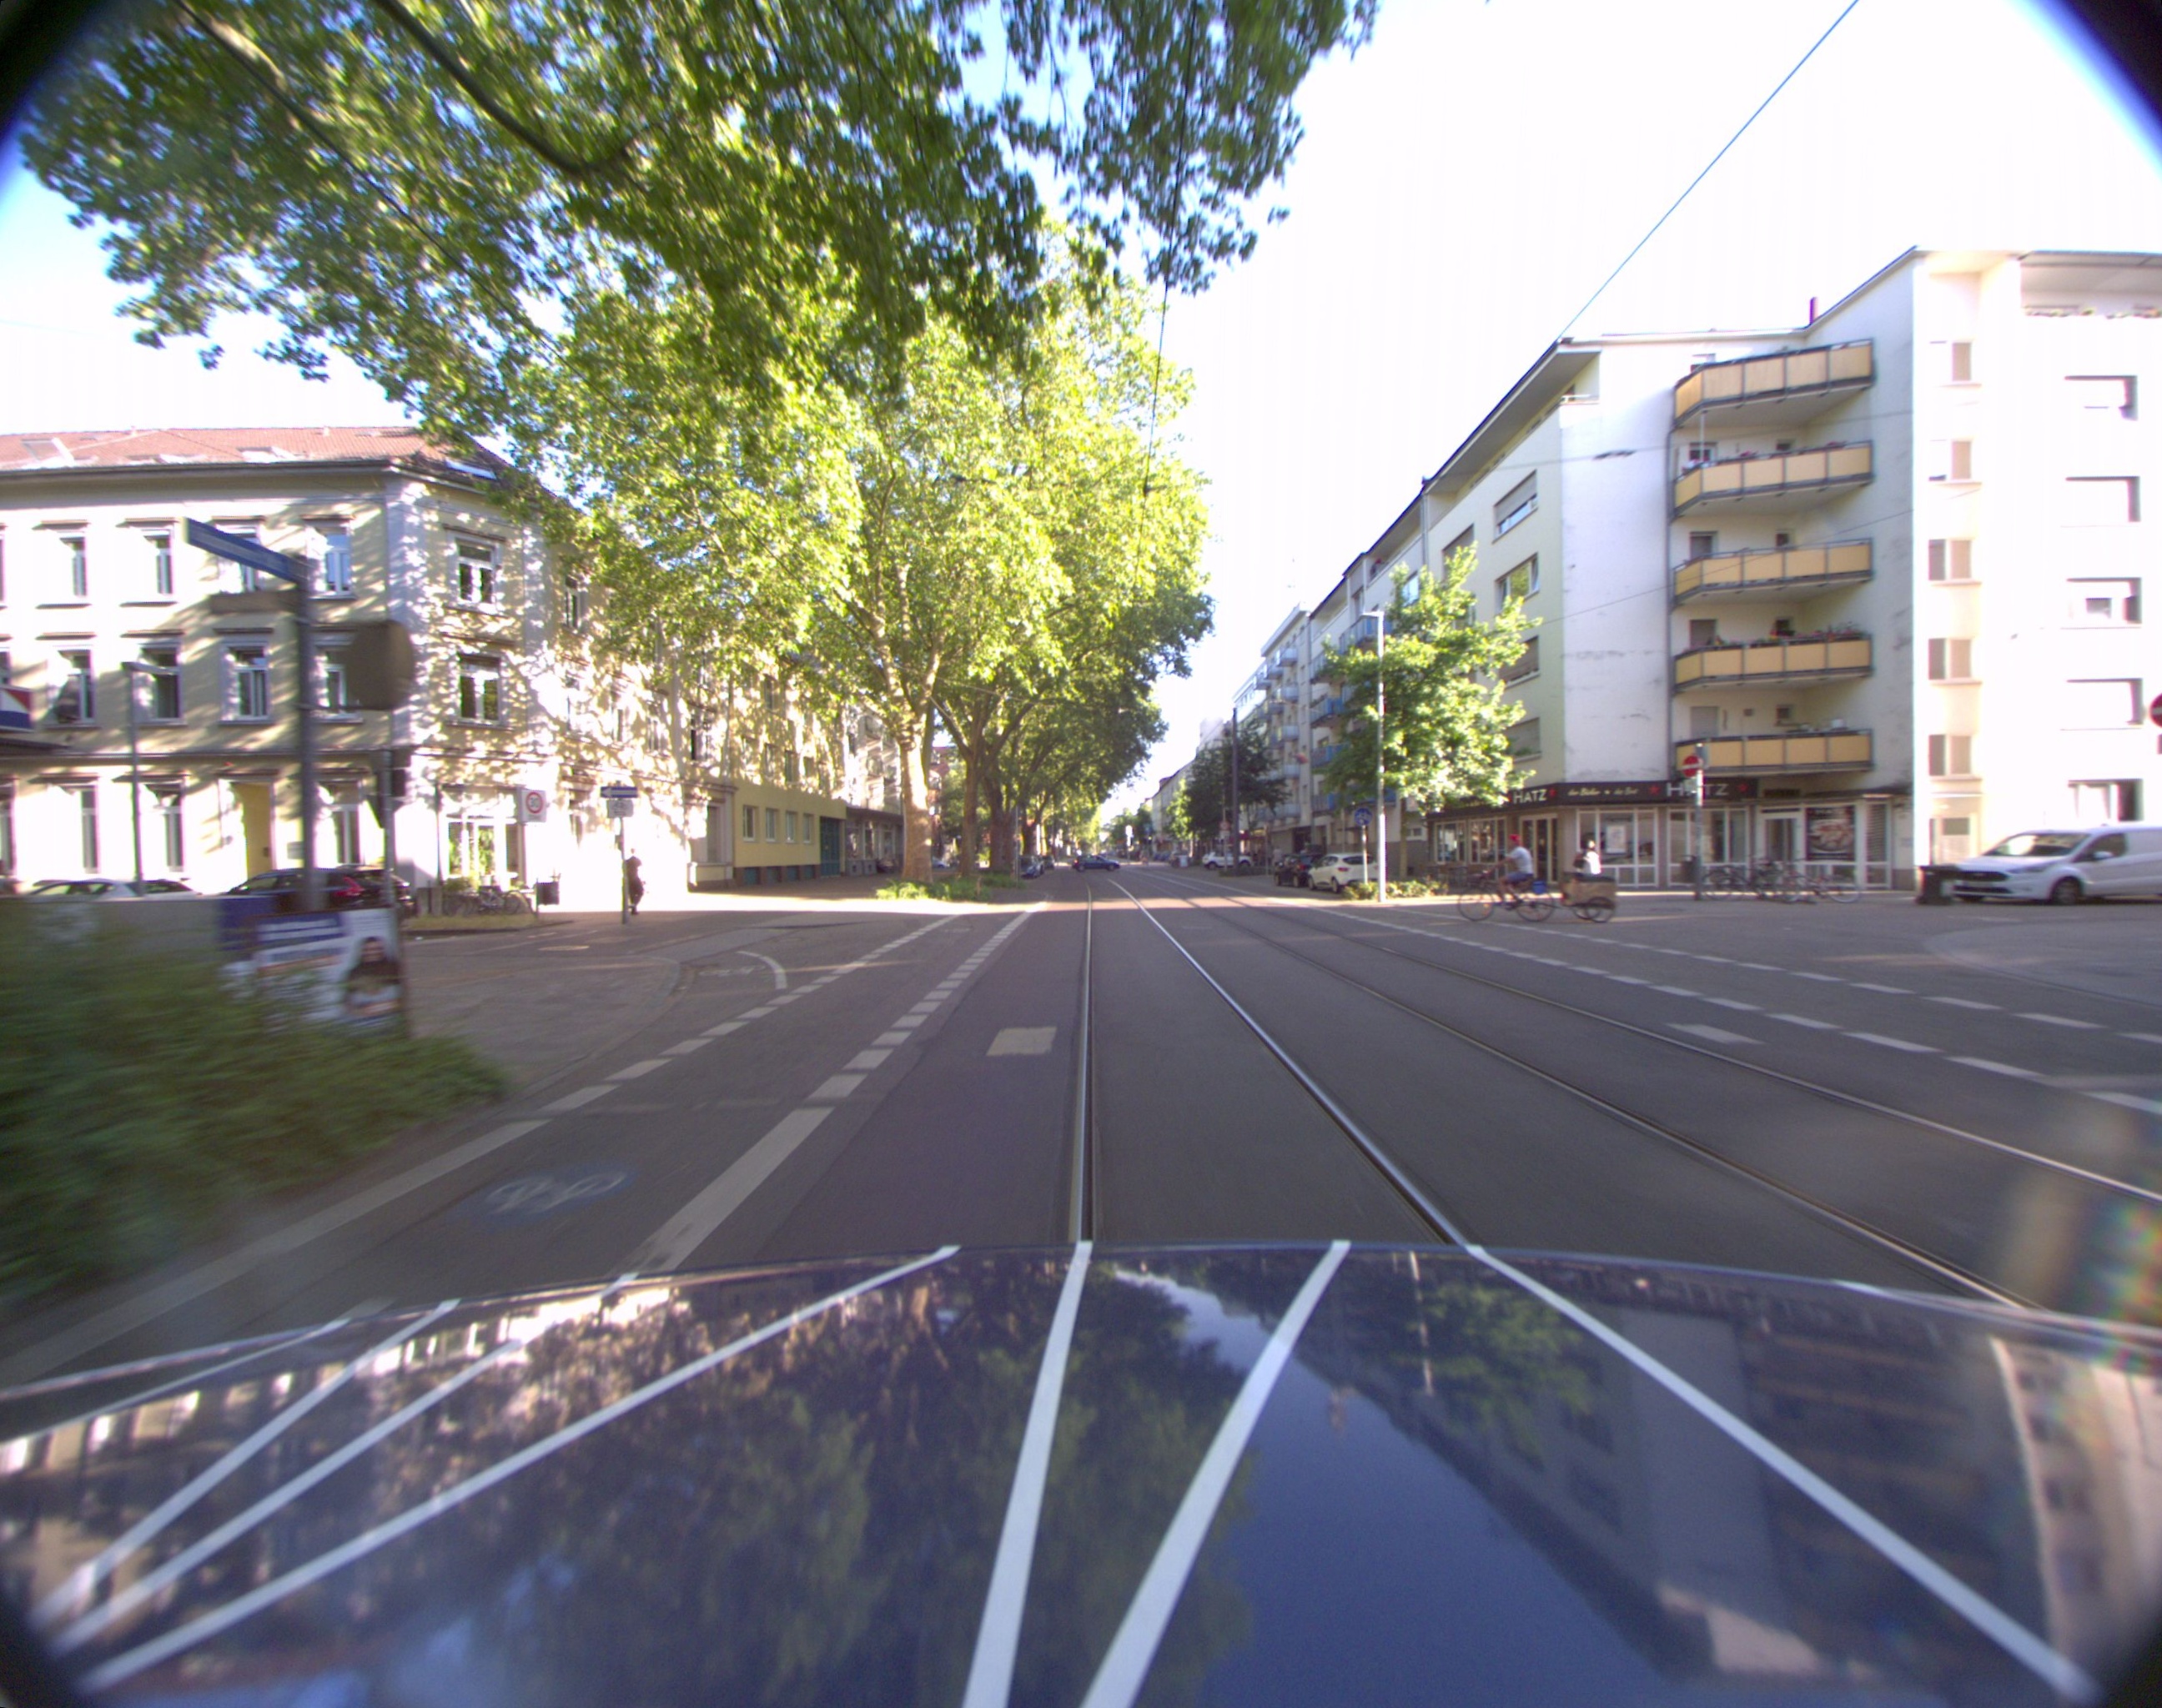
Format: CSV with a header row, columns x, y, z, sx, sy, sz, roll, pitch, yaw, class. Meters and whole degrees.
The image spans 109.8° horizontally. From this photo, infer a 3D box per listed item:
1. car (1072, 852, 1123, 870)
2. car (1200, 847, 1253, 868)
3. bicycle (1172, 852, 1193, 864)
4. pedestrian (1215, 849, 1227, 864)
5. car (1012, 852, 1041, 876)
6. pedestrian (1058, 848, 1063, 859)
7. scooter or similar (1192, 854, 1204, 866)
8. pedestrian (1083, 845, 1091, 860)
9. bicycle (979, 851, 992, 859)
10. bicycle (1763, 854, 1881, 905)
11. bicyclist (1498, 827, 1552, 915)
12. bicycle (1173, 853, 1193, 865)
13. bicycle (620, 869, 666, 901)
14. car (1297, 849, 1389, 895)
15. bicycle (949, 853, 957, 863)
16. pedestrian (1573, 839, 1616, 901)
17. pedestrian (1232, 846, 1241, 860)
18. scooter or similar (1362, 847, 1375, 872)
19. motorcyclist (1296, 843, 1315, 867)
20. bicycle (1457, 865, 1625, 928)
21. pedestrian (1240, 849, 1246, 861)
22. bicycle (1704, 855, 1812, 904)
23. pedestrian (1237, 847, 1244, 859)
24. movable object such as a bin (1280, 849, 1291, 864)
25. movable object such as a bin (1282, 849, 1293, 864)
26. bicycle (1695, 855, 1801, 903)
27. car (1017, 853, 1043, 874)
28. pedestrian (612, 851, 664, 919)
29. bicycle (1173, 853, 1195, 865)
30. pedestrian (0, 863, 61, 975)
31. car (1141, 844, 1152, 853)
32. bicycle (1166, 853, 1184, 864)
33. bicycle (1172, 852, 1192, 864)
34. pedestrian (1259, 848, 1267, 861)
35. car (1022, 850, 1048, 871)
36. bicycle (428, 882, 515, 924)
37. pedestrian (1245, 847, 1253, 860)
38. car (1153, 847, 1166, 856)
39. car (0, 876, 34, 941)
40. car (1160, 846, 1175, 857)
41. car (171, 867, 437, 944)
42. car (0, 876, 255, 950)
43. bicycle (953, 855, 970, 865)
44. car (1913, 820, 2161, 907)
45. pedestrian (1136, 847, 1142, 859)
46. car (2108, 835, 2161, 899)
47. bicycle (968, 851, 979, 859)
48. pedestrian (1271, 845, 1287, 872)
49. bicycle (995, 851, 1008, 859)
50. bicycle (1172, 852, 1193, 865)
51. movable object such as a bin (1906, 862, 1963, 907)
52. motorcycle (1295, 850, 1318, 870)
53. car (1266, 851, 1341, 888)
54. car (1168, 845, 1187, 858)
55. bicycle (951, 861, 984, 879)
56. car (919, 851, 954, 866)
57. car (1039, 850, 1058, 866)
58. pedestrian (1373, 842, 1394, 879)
x,y,z,sx,sy,sz,roll,pitch,yaw,class
1.391,0.610,66.058,4.225,1.429,1.869,-2,1,-6,car
11.772,0.283,61.708,4.022,1.467,1.852,-2,1,3,car
9.567,0.373,71.669,1.834,1.001,0.657,-2,1,-4,bicycle
12.006,0.194,65.121,0.714,1.290,0.746,-1,1,-13,pedestrian
-3.627,0.677,51.186,1.567,1.510,2.910,0,1,3,car
-3.120,-0.022,115.985,0.768,1.650,0.917,-1,1,-3,pedestrian
11.119,0.572,72.313,1.082,1.169,0.498,-2,1,-1,scooter or similar
0.650,-0.184,84.144,0.759,1.661,0.768,-1,1,-5,pedestrian
-15.288,0.149,121.996,2.035,1.150,0.572,1,1,6,bicycle
17.723,0.593,18.222,1.946,1.150,0.573,1,1,20,bicycle
8.924,0.329,15.313,0.872,1.694,0.909,-1,1,27,bicyclist
9.315,0.423,69.188,1.696,1.001,0.657,-2,1,-4,bicycle
-16.198,1.132,28.172,0.584,1.098,1.922,1,1,0,bicycle
9.852,0.630,28.949,1.718,1.456,4.375,-5,1,-3,car
-16.396,0.521,97.518,0.601,1.150,1.698,1,1,4,bicycle
14.362,0.430,21.268,0.665,1.681,0.748,-1,1,-1,pedestrian
17.081,-0.110,83.343,0.727,1.547,0.768,-1,1,-5,pedestrian
15.340,0.280,40.539,0.376,1.282,1.237,1,1,8,scooter or similar
13.706,0.060,46.347,0.875,1.432,1.016,-1,1,2,motorcyclist
9.115,0.836,15.227,2.797,1.150,0.923,-1,1,27,bicycle
15.892,0.065,74.618,0.513,1.191,0.564,-1,1,3,pedestrian
16.840,0.623,18.942,1.947,1.150,0.573,1,1,15,bicycle
16.046,-0.138,76.301,0.513,1.191,0.563,-1,1,-15,pedestrian
15.431,0.182,57.298,0.679,1.049,0.622,-1,1,2,movable object such as a bin
15.417,0.181,56.658,0.674,1.049,0.574,-1,1,2,movable object such as a bin
16.940,0.627,19.345,1.947,1.150,0.573,1,1,15,bicycle
-3.692,0.675,55.801,1.822,1.427,4.600,0,1,-3,car
-12.465,0.840,21.415,0.768,1.856,1.188,-1,1,-3,pedestrian
9.559,0.472,70.539,1.834,1.001,0.657,-2,1,-4,bicycle
-16.212,0.961,11.438,0.748,1.635,0.666,-1,1,2,pedestrian
13.699,-1.104,159.284,1.808,1.923,4.049,-1,1,-1,car
9.180,0.430,74.248,1.696,1.001,0.657,-2,1,-4,bicycle
9.609,0.360,72.314,1.834,1.001,0.657,-2,1,-4,bicycle
16.978,0.044,70.994,0.563,1.191,0.624,-1,1,0,pedestrian
-3.672,0.503,61.252,1.862,1.594,4.780,0,1,-1,car
-17.127,1.358,21.400,1.838,1.001,0.568,-3,2,-34,bicycle
15.973,-0.024,72.368,0.514,1.191,0.562,-1,1,-28,pedestrian
12.975,-0.472,125.650,1.799,1.455,4.281,0,1,1,car
-29.197,1.405,18.632,4.142,1.626,2.000,-1,-1,-2,car
13.004,-0.405,114.420,1.961,1.535,4.388,0,1,1,car
-18.538,1.174,18.335,4.143,1.584,1.999,-1,1,-4,car
-23.607,1.412,18.713,4.142,1.496,1.999,-1,2,-2,car
-13.341,0.676,84.857,1.799,1.150,0.744,0,1,-21,bicycle
22.477,0.175,17.379,4.888,1.812,2.038,-1,1,-3,car
7.689,-0.096,100.738,0.655,1.576,0.772,-1,1,1,pedestrian
27.275,0.269,17.719,3.956,1.491,2.029,-1,1,-1,car
-17.256,0.145,122.072,1.681,1.150,0.572,1,1,6,bicycle
12.496,0.253,48.031,0.765,1.681,0.794,-1,1,-1,pedestrian
-12.757,0.156,122.027,2.034,1.150,0.572,1,1,11,bicycle
9.502,0.419,71.351,1.834,1.058,0.657,-2,1,-4,bicycle
19.189,0.669,17.097,0.595,0.967,0.640,-1,1,-10,movable object such as a bin
13.724,0.375,46.300,0.851,1.157,1.915,-1,1,2,motorcycle
9.731,0.620,33.521,1.718,1.455,3.997,-3,1,-6,car
12.998,-0.316,102.315,1.883,1.641,4.357,-3,1,0,car
-6.692,0.927,44.853,1.964,1.000,0.512,2,2,27,bicycle
-17.582,0.557,92.680,3.871,1.683,1.866,-1,1,1,car
-3.341,0.386,77.832,1.769,1.454,5.011,-1,1,-1,car
14.012,0.305,35.176,0.665,1.681,0.748,-1,1,-1,pedestrian
